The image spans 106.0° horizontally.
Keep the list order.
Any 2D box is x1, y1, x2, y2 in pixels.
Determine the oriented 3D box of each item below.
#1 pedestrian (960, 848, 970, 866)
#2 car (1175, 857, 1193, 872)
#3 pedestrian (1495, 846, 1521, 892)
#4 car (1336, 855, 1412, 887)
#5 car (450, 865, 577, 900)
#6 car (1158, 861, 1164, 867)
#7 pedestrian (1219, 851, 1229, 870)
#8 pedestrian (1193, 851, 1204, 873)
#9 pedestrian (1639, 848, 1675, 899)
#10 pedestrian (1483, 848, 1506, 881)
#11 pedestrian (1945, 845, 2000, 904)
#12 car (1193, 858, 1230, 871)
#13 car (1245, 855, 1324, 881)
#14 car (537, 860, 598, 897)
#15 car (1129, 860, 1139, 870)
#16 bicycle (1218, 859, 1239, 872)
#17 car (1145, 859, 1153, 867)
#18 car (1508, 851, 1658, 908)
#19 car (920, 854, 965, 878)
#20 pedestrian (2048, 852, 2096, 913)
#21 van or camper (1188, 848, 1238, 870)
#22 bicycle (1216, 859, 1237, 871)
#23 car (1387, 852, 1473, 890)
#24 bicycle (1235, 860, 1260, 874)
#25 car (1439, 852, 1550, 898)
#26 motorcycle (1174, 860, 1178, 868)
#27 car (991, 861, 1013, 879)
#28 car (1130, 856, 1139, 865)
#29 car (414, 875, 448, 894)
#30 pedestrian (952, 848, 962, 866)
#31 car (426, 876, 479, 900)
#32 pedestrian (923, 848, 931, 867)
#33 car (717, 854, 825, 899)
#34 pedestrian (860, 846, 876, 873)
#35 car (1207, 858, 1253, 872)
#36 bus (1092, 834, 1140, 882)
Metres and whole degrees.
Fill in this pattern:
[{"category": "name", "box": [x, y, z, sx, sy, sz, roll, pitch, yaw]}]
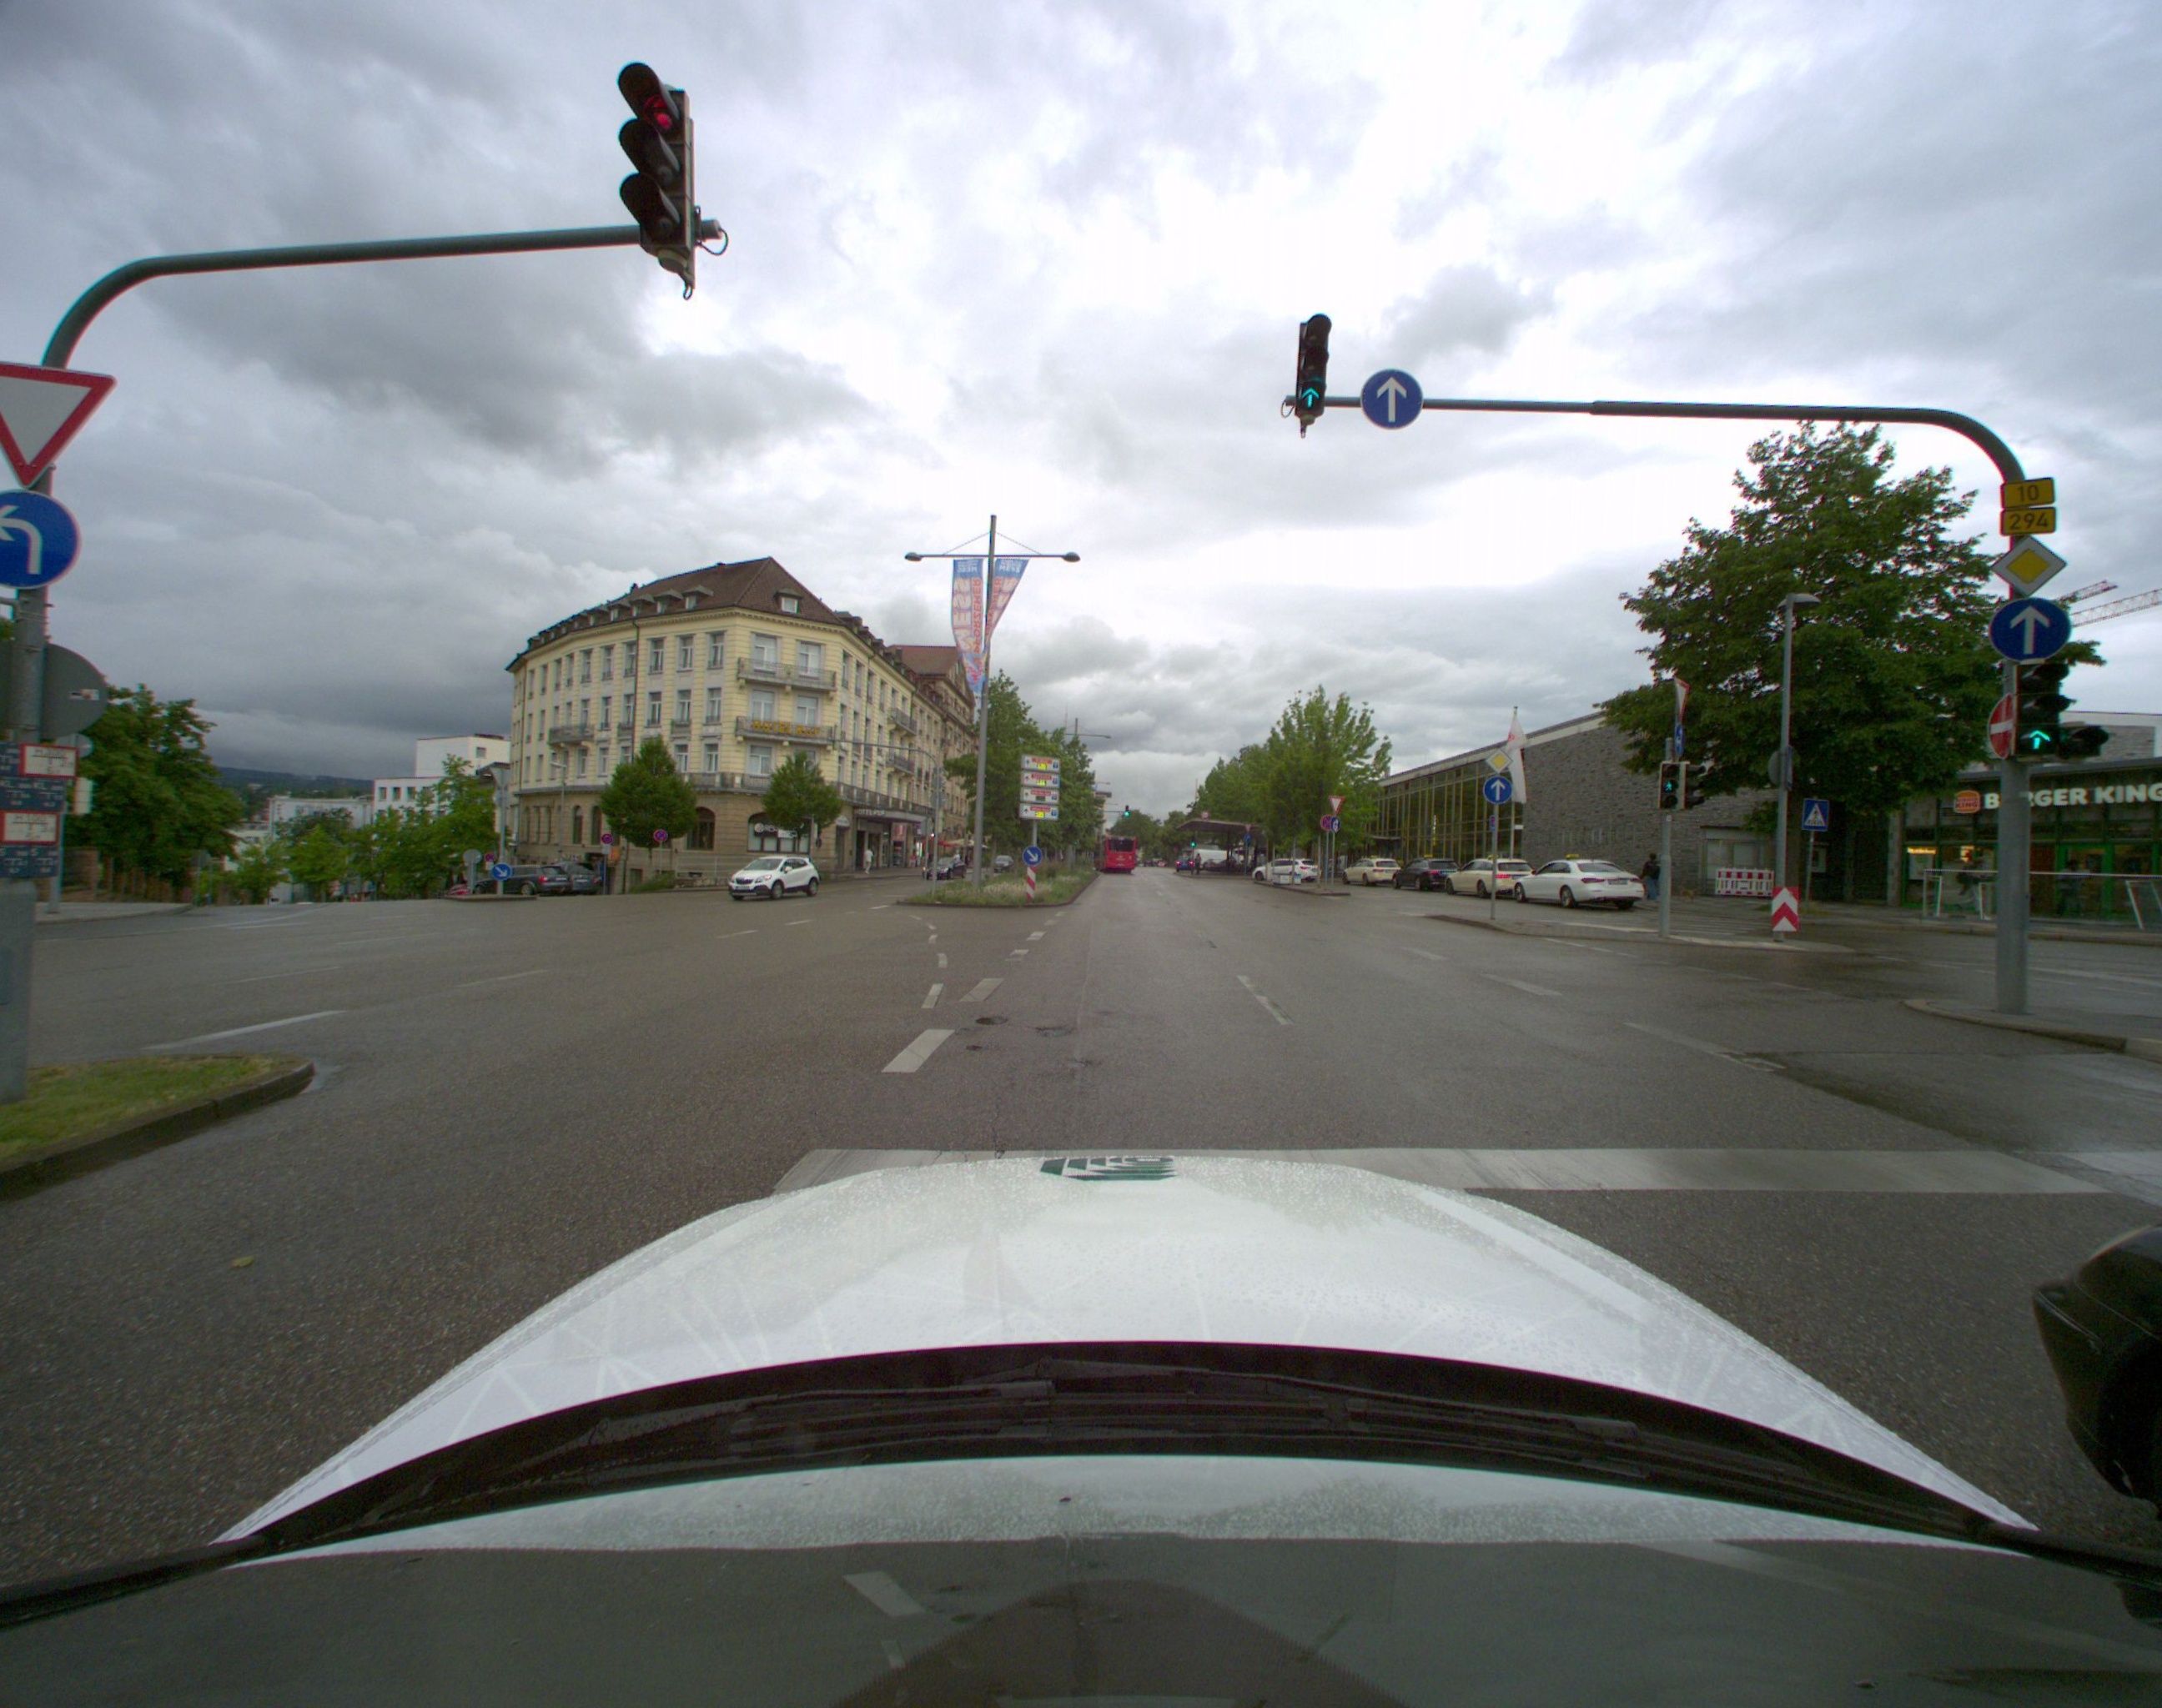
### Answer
[{"category": "pedestrian", "box": [-10.416, 0.262, 73.125, 0.678, 1.664, 0.808, -1, -1, 3]}, {"category": "car", "box": [10.734, 1.104, 85.035, 1.849, 1.569, 4.007, 1, -1, 7]}, {"category": "pedestrian", "box": [19.940, 0.696, 38.035, 0.792, 2.164, 0.723, -1, -1, 2]}, {"category": "car", "box": [15.725, 0.863, 43.990, 1.990, 1.599, 4.950, -1, 0, -5]}, {"category": "car", "box": [-24.715, 1.225, 35.570, 4.417, 1.466, 1.702, -1, -1, 4]}, {"category": "car", "box": [22.515, 2.763, 229.469, 1.638, 1.661, 3.653, -1, -1, 3]}, {"category": "pedestrian", "box": [14.158, 0.631, 80.683, 0.853, 1.835, 1.191, 0, -1, 3]}, {"category": "pedestrian", "box": [9.592, 0.643, 66.556, 0.745, 1.747, 0.834, 0, -1, -5]}, {"category": "pedestrian", "box": [18.750, 0.617, 26.497, 0.726, 1.626, 0.788, 0, -1, -41]}, {"category": "pedestrian", "box": [20.315, 0.517, 40.022, 0.766, 1.580, 0.710, 0, -1, -1]}, {"category": "pedestrian", "box": [25.555, 0.580, 23.347, 0.715, 1.667, 0.800, -1, -1, 13]}, {"category": "car", "box": [15.418, 1.285, 96.137, 4.004, 1.443, 1.850, 1, -1, -24]}, {"category": "car", "box": [12.629, 0.876, 50.744, 1.771, 1.546, 4.724, 1, -1, -36]}, {"category": "car", "box": [-26.071, 1.176, 41.286, 3.950, 1.759, 1.645, 0, 0, 43]}, {"category": "car", "box": [11.179, 2.324, 172.681, 1.985, 2.014, 4.003, -1, -1, 3]}, {"category": "bicycle", "box": [12.850, 0.987, 71.011, 1.830, 1.056, 0.418, 0, -1, -15]}, {"category": "car", "box": [14.564, 1.905, 174.837, 1.588, 1.561, 3.653, -1, -1, 3]}, {"category": "car", "box": [15.379, 0.751, 25.337, 1.872, 1.599, 4.907, -1, -1, 3]}, {"category": "car", "box": [-8.767, 0.756, 51.808, 1.947, 1.422, 4.004, -1, -1, 4]}, {"category": "pedestrian", "box": [27.925, 0.797, 22.962, 0.713, 1.667, 0.802, -1, -1, 41]}, {"category": "van or camper", "box": [16.540, 0.618, 102.159, 5.974, 2.763, 2.181, 0, -1, -24]}, {"category": "bicycle", "box": [12.764, 0.987, 71.463, 1.830, 1.056, 0.418, 0, -1, -15]}, {"category": "car", "box": [15.924, 0.739, 37.451, 1.986, 1.599, 4.960, 1, 0, 2]}, {"category": "bicycle", "box": [12.758, 1.026, 62.402, 1.820, 1.056, 0.421, -1, -1, 2]}, {"category": "car", "box": [15.680, 0.749, 31.245, 1.985, 1.599, 4.963, -1, 0, 3]}, {"category": "motorcycle", "box": [13.918, 1.455, 119.182, 0.591, 1.288, 1.958, 0, 0, 9]}, {"category": "car", "box": [-6.788, 1.363, 70.200, 1.673, 1.512, 3.859, 0, -1, -3]}, {"category": "car", "box": [12.437, 1.516, 188.283, 1.985, 2.014, 4.003, -1, -1, 3]}, {"category": "car", "box": [-53.720, 2.534, 67.282, 3.950, 1.478, 1.780, -1, -1, 44]}, {"category": "pedestrian", "box": [-11.155, 0.281, 73.223, 0.678, 1.664, 0.808, -1, -1, 6]}, {"category": "car", "box": [-40.178, 2.144, 52.055, 3.958, 1.478, 1.781, -1, -1, 38]}, {"category": "pedestrian", "box": [-14.252, 0.320, 75.303, 0.665, 1.664, 0.535, 0, -1, -6]}, {"category": "car", "box": [-11.787, 0.825, 31.260, 1.943, 1.618, 4.220, -1, -1, 10]}, {"category": "pedestrian", "box": [-14.317, 0.382, 54.781, 0.876, 1.813, 0.751, -1, -1, 3]}, {"category": "car", "box": [14.901, 1.132, 81.723, 4.195, 1.325, 1.829, 1, -1, -17]}, {"category": "bus", "box": [3.015, 0.402, 73.966, 3.536, 3.979, 11.162, 0, -1, -2]}]
